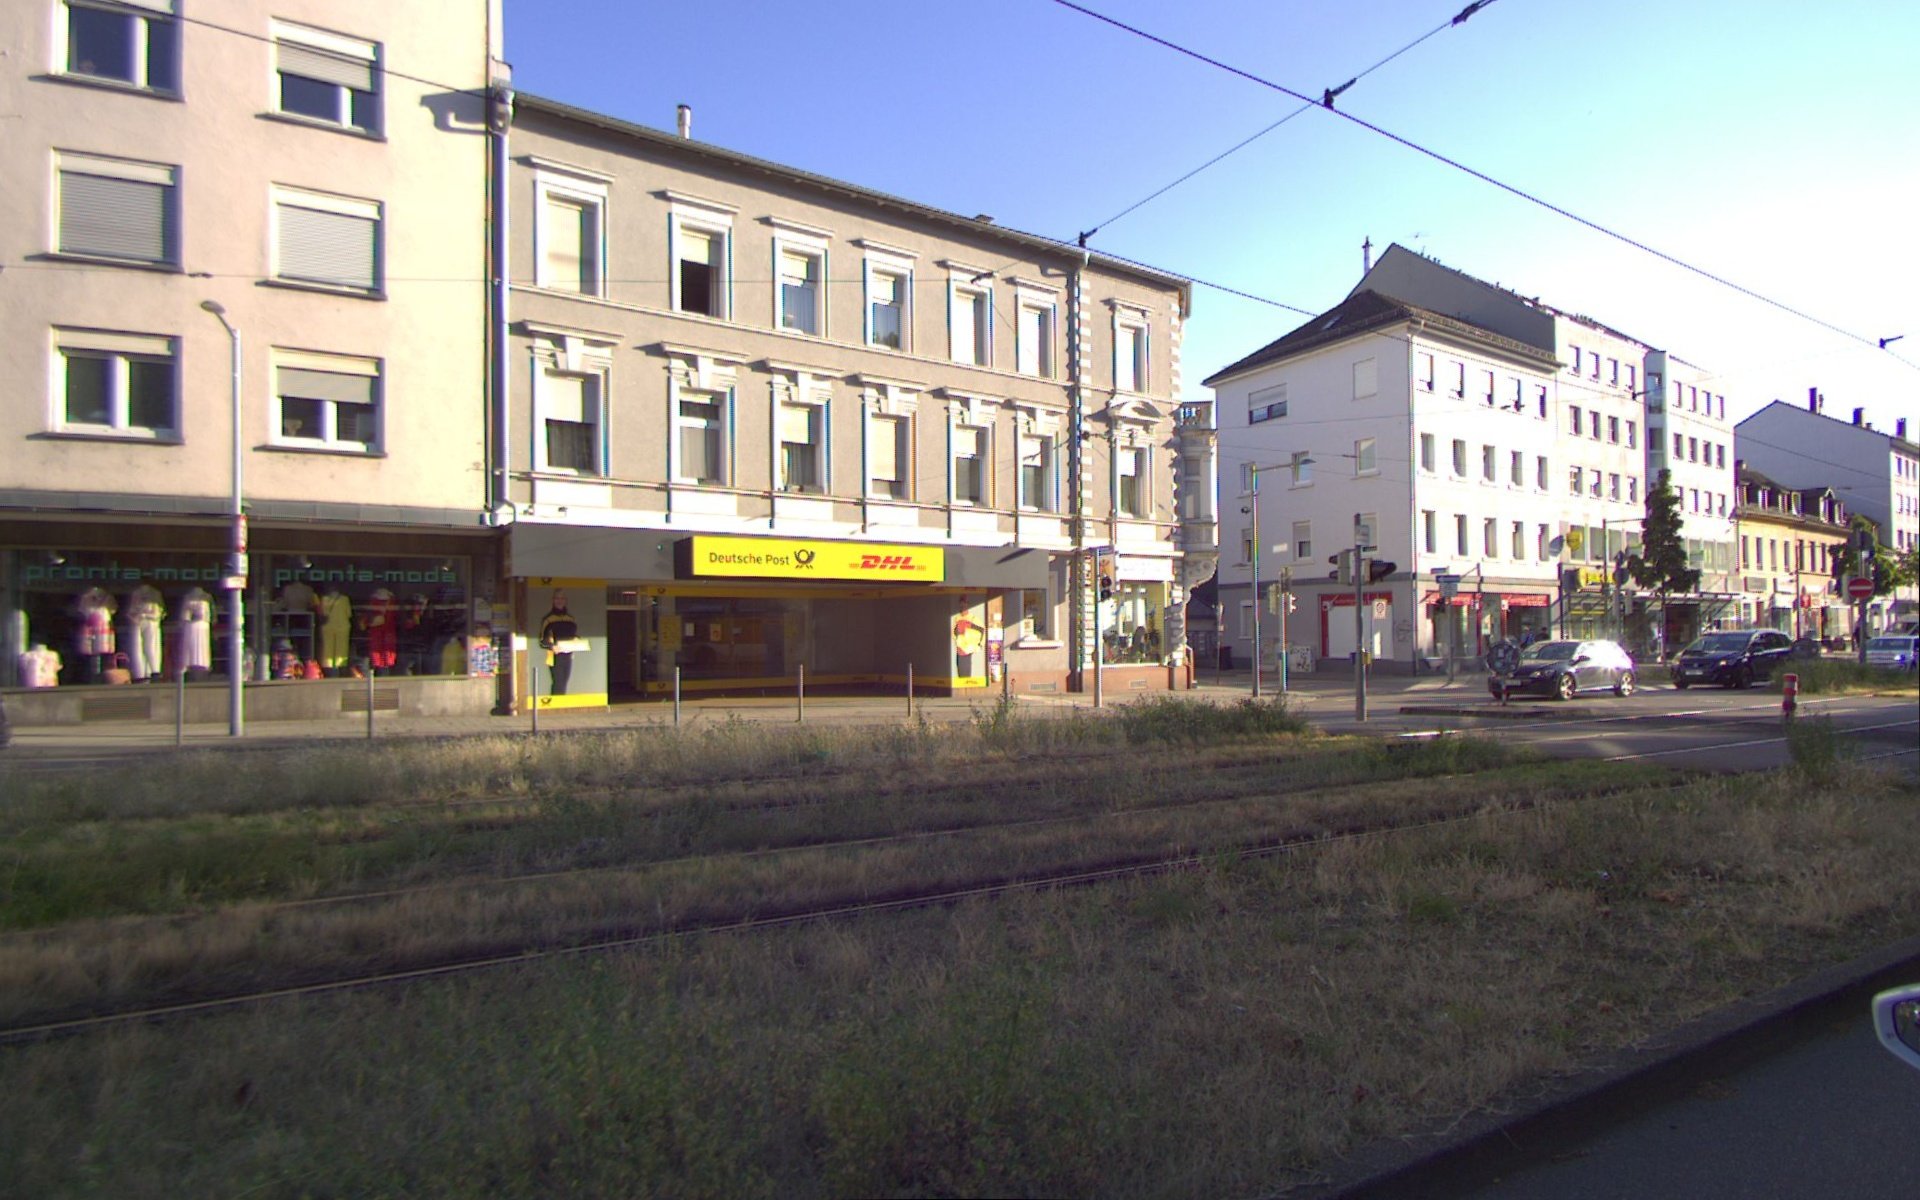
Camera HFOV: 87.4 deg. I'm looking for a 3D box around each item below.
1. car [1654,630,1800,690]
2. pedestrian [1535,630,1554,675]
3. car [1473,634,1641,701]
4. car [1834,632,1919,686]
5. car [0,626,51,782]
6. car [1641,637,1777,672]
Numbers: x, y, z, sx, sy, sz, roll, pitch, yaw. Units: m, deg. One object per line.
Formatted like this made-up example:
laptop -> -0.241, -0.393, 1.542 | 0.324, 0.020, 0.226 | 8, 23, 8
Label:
car -> 22.744, 1.724, 29.760 | 4.452, 1.636, 1.773 | 1, -2, -28
pedestrian -> 22.941, 2.050, 39.414 | 0.501, 1.736, 0.424 | 1, -2, -26
car -> 14.895, 1.649, 25.044 | 3.993, 1.469, 1.774 | 0, -3, -28
car -> 33.591, 2.096, 36.411 | 3.957, 1.828, 1.887 | 2, -2, -33
car -> -12.022, 1.009, 9.492 | 4.719, 1.579, 1.984 | 2, -2, -30
car -> 32.815, 2.385, 44.185 | 4.465, 1.431, 1.999 | 0, -2, 24
